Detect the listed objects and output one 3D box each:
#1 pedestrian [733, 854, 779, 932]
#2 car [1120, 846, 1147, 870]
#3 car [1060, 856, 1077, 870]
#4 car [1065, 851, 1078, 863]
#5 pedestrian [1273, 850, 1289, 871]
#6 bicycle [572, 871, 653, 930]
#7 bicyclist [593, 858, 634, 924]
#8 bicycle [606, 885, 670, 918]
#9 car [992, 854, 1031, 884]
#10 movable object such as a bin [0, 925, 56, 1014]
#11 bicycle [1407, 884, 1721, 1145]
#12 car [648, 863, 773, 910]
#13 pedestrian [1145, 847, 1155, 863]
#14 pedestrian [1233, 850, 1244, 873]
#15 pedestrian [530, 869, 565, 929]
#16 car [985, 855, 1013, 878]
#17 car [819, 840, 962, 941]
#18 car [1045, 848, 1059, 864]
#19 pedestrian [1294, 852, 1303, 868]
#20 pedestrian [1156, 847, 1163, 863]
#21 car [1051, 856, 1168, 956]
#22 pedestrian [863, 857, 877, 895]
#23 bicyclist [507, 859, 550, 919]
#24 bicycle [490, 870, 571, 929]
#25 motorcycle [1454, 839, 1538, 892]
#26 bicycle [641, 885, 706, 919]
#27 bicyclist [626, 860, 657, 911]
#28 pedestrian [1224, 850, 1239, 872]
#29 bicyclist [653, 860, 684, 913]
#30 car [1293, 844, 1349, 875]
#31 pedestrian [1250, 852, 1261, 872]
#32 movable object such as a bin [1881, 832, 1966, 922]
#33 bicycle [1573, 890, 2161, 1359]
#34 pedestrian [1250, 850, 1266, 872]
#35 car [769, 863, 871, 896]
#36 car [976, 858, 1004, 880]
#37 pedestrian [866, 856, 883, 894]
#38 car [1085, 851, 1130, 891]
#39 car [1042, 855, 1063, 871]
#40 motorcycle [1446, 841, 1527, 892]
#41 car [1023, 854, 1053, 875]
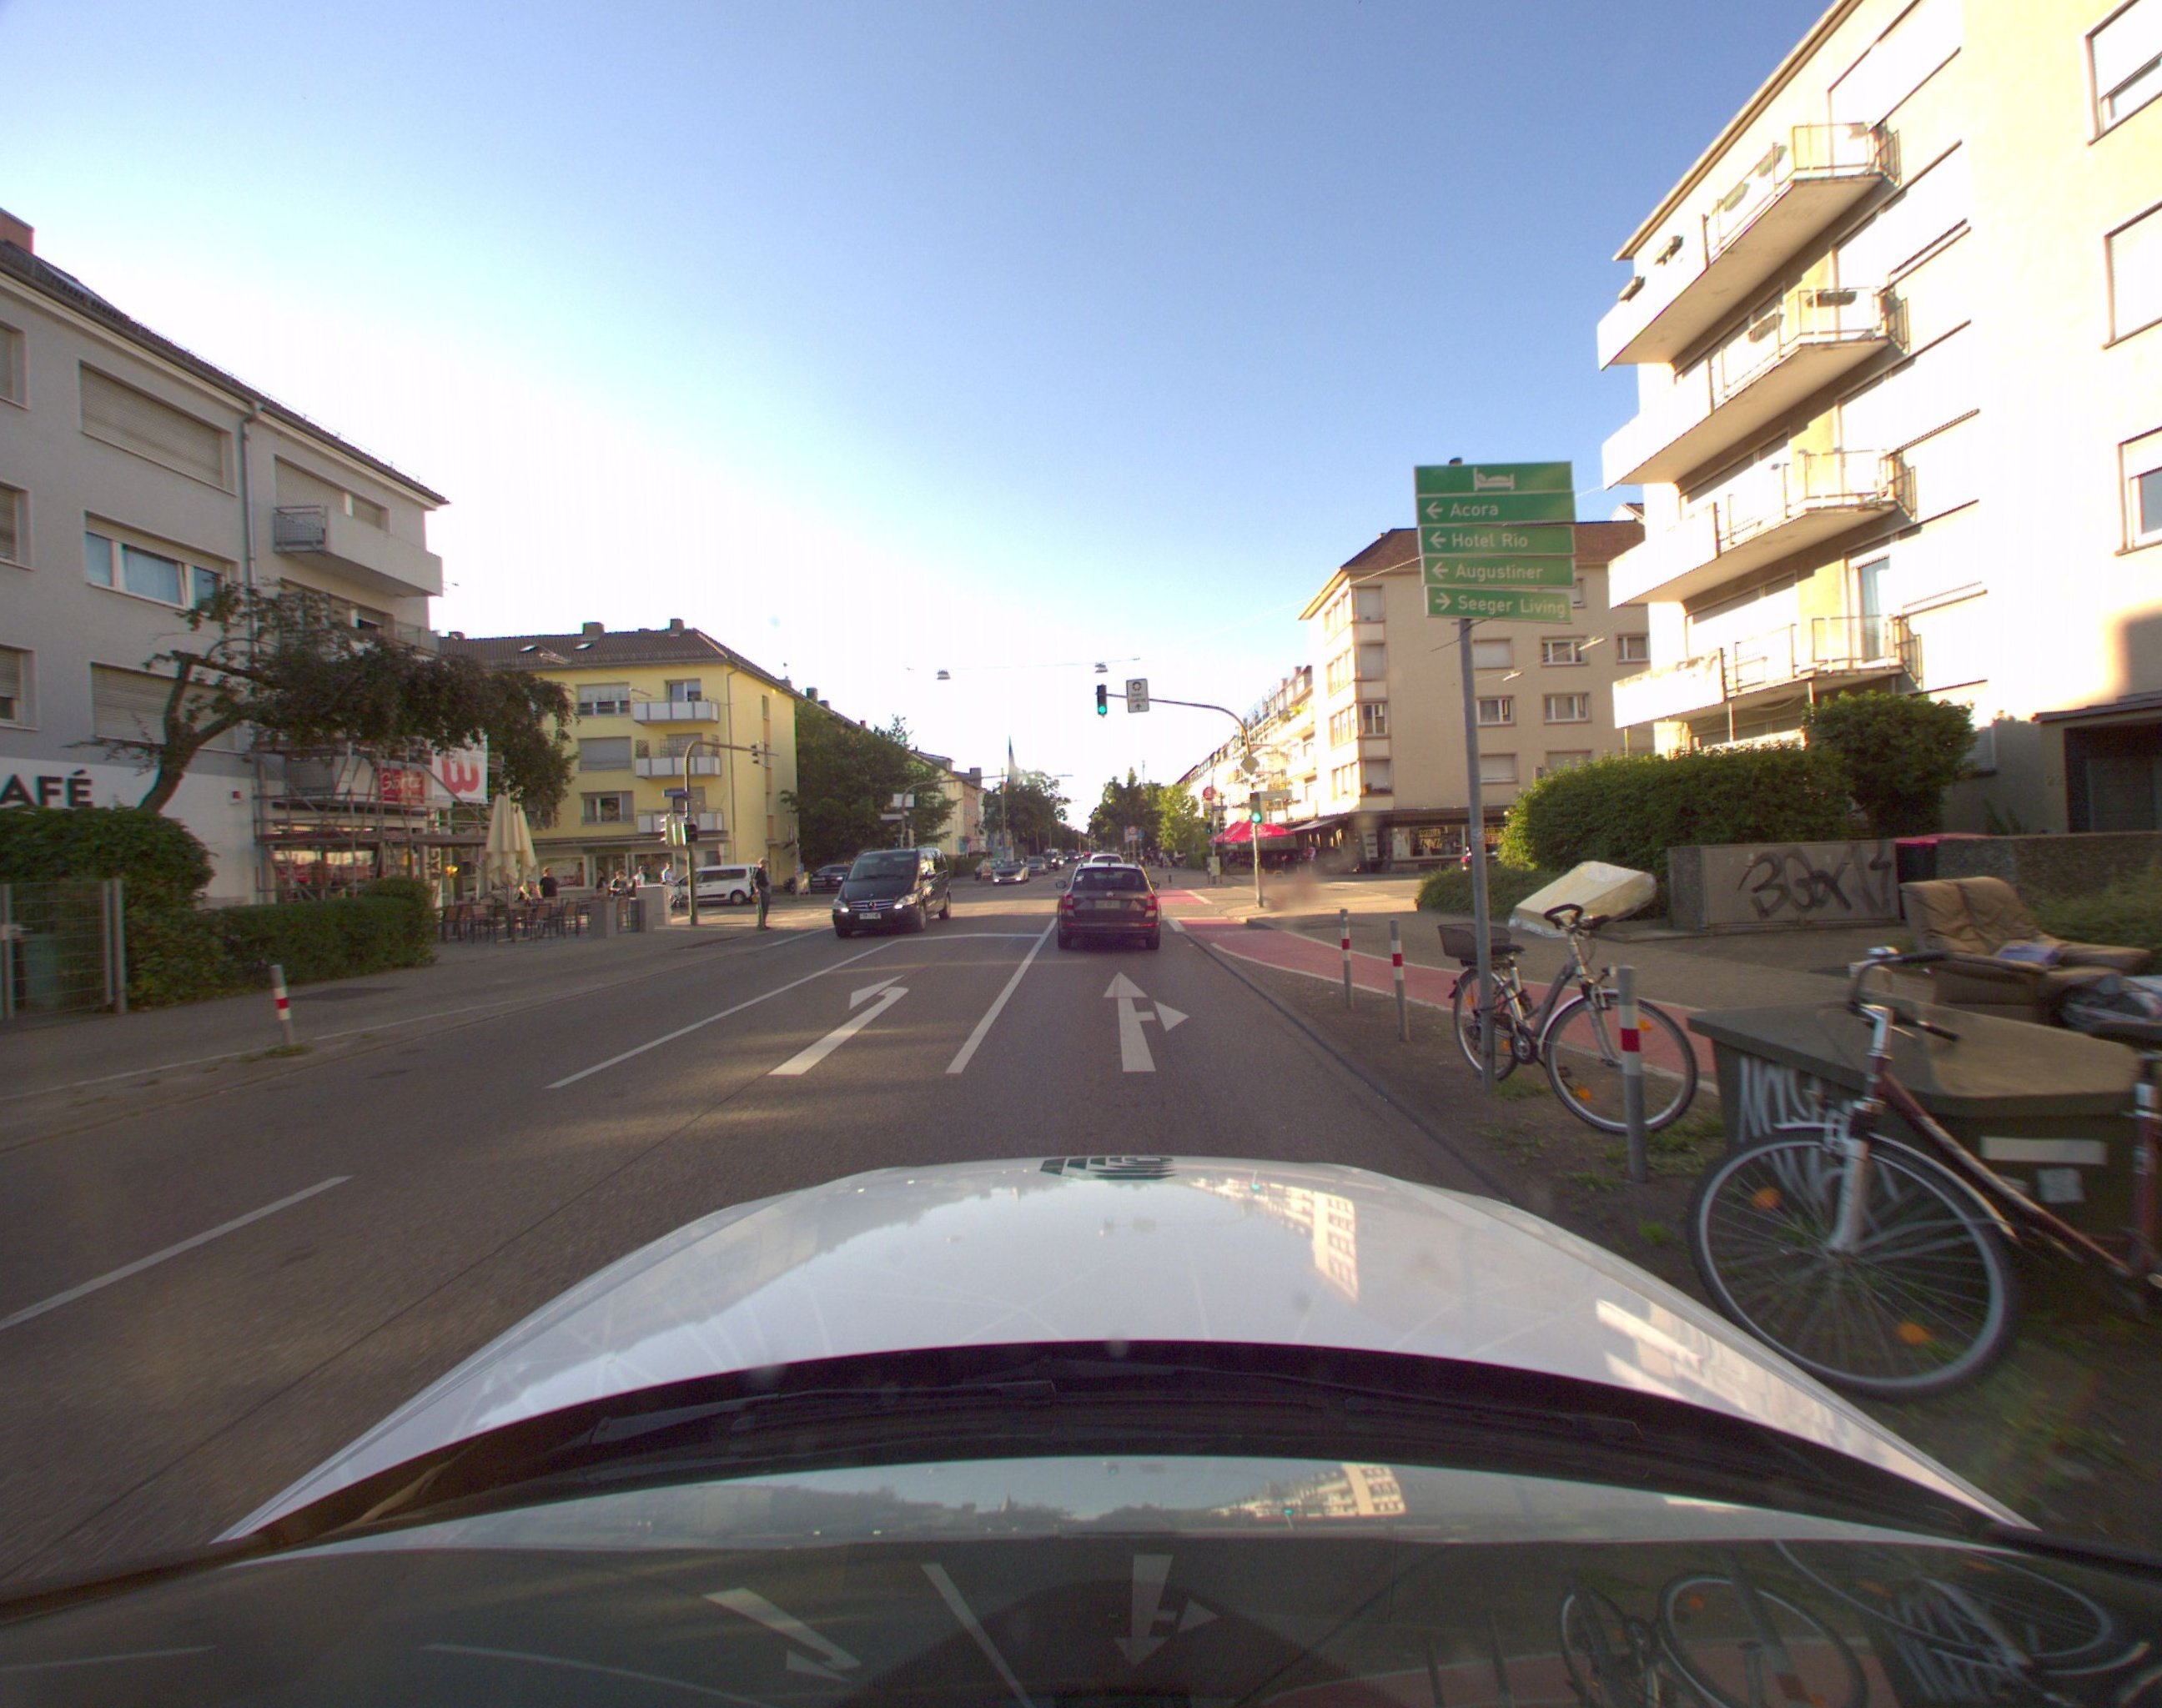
[{"bbox_3d":[-8.586,1.006,21.517,0.777,1.987,0.821,-3,0,1],"label":"pedestrian"},{"bbox_3d":[4.010,0.266,62.470,1.985,1.772,4.004,-1,0,4],"label":"car"},{"bbox_3d":[-1.452,1.026,94.588,1.697,1.550,4.003,-3,0,1],"label":"car"},{"bbox_3d":[-1.652,0.483,140.110,1.986,2.013,4.001,-3,0,1],"label":"car"},{"bbox_3d":[11.669,0.391,47.562,0.726,1.198,0.856,-2,0,1],"label":"pedestrian"},{"bbox_3d":[-14.651,1.452,25.509,2.017,1.706,0.756,-2,0,-2],"label":"bicycle"},{"bbox_3d":[-14.674,1.141,25.560,0.723,2.013,0.843,-2,0,-2],"label":"bicyclist"},{"bbox_3d":[-16.241,1.726,29.885,1.899,1.071,0.717,-2,-1,-9],"label":"bicycle"},{"bbox_3d":[-4.012,0.850,47.591,1.824,1.579,4.001,-3,0,1],"label":"car"},{"bbox_3d":[-12.535,1.343,9.487,0.602,0.968,0.439,-2,0,1],"label":"movable object such as a bin"},{"bbox_3d":[2.701,0.798,4.864,0.501,1.147,1.955,-5,0,-5],"label":"bicycle"},{"bbox_3d":[-16.362,1.436,36.132,4.618,1.811,1.862,-2,0,0],"label":"car"},{"bbox_3d":[7.130,0.104,84.182,0.668,1.704,0.806,-3,0,27],"label":"pedestrian"},{"bbox_3d":[9.327,0.433,48.143,0.498,1.302,0.506,-2,0,-2],"label":"pedestrian"},{"bbox_3d":[-15.582,1.304,23.786,0.578,1.675,0.641,-2,0,-8],"label":"pedestrian"},{"bbox_3d":[-6.363,0.941,63.707,1.554,1.618,4.002,-2,0,2],"label":"car"},{"bbox_3d":[-4.233,0.737,19.062,1.987,1.908,4.964,-4,0,1],"label":"car"},{"bbox_3d":[-4.756,0.349,134.696,1.986,2.478,4.001,-2,0,1],"label":"car"},{"bbox_3d":[13.802,0.355,51.659,0.370,0.996,0.522,-2,0,1],"label":"pedestrian"},{"bbox_3d":[8.147,0.117,84.618,0.578,1.563,0.518,-2,0,-9],"label":"pedestrian"},{"bbox_3d":[0.466,0.803,14.710,1.767,1.489,4.311,-1,0,1],"label":"car"},{"bbox_3d":[-10.284,1.061,39.711,0.448,1.797,0.504,-3,0,1],"label":"pedestrian"},{"bbox_3d":[-17.092,1.074,25.208,0.783,1.799,0.709,-2,0,-1],"label":"bicyclist"},{"bbox_3d":[-17.032,1.397,25.213,1.914,1.706,0.756,-2,0,-2],"label":"bicycle"},{"bbox_3d":[11.466,0.321,22.530,1.904,1.361,0.695,-2,0,5],"label":"motorcycle"},{"bbox_3d":[-14.531,1.698,29.072,1.899,1.071,0.717,-2,-1,-9],"label":"bicycle"},{"bbox_3d":[-16.134,1.146,29.900,0.738,1.823,0.652,-3,0,-8],"label":"bicyclist"},{"bbox_3d":[8.725,0.411,47.176,0.675,1.198,0.856,-2,0,1],"label":"pedestrian"},{"bbox_3d":[-14.687,1.133,29.022,0.738,1.823,0.652,-3,0,-8],"label":"bicyclist"},{"bbox_3d":[12.400,0.275,42.274,1.769,1.486,4.002,-2,0,2],"label":"car"},{"bbox_3d":[10.371,0.490,48.482,0.503,1.176,0.428,-2,0,1],"label":"pedestrian"},{"bbox_3d":[11.061,0.297,10.702,0.629,1.127,0.417,-2,0,1],"label":"movable object such as a bin"},{"bbox_3d":[2.721,0.778,2.551,1.824,1.157,0.684,-5,-1,7],"label":"bicycle"},{"bbox_3d":[10.282,0.396,47.360,0.726,1.198,0.856,-2,0,1],"label":"pedestrian"},{"bbox_3d":[-13.489,1.289,42.255,4.618,1.535,1.862,-1,0,0],"label":"car"},{"bbox_3d":[-6.480,1.043,58.296,1.517,1.457,3.586,-2,0,1],"label":"car"},{"bbox_3d":[-9.965,1.002,39.287,0.613,1.797,0.504,-3,0,1],"label":"pedestrian"},{"bbox_3d":[1.109,0.669,34.066,1.730,1.571,4.002,0,0,2],"label":"car"},{"bbox_3d":[-2.777,0.865,79.855,1.781,1.571,4.002,0,0,2],"label":"car"},{"bbox_3d":[11.636,0.350,23.420,1.904,1.361,0.695,-2,0,5],"label":"motorcycle"},{"bbox_3d":[-3.472,0.822,66.060,1.986,1.610,4.002,-2,0,2],"label":"car"}]
